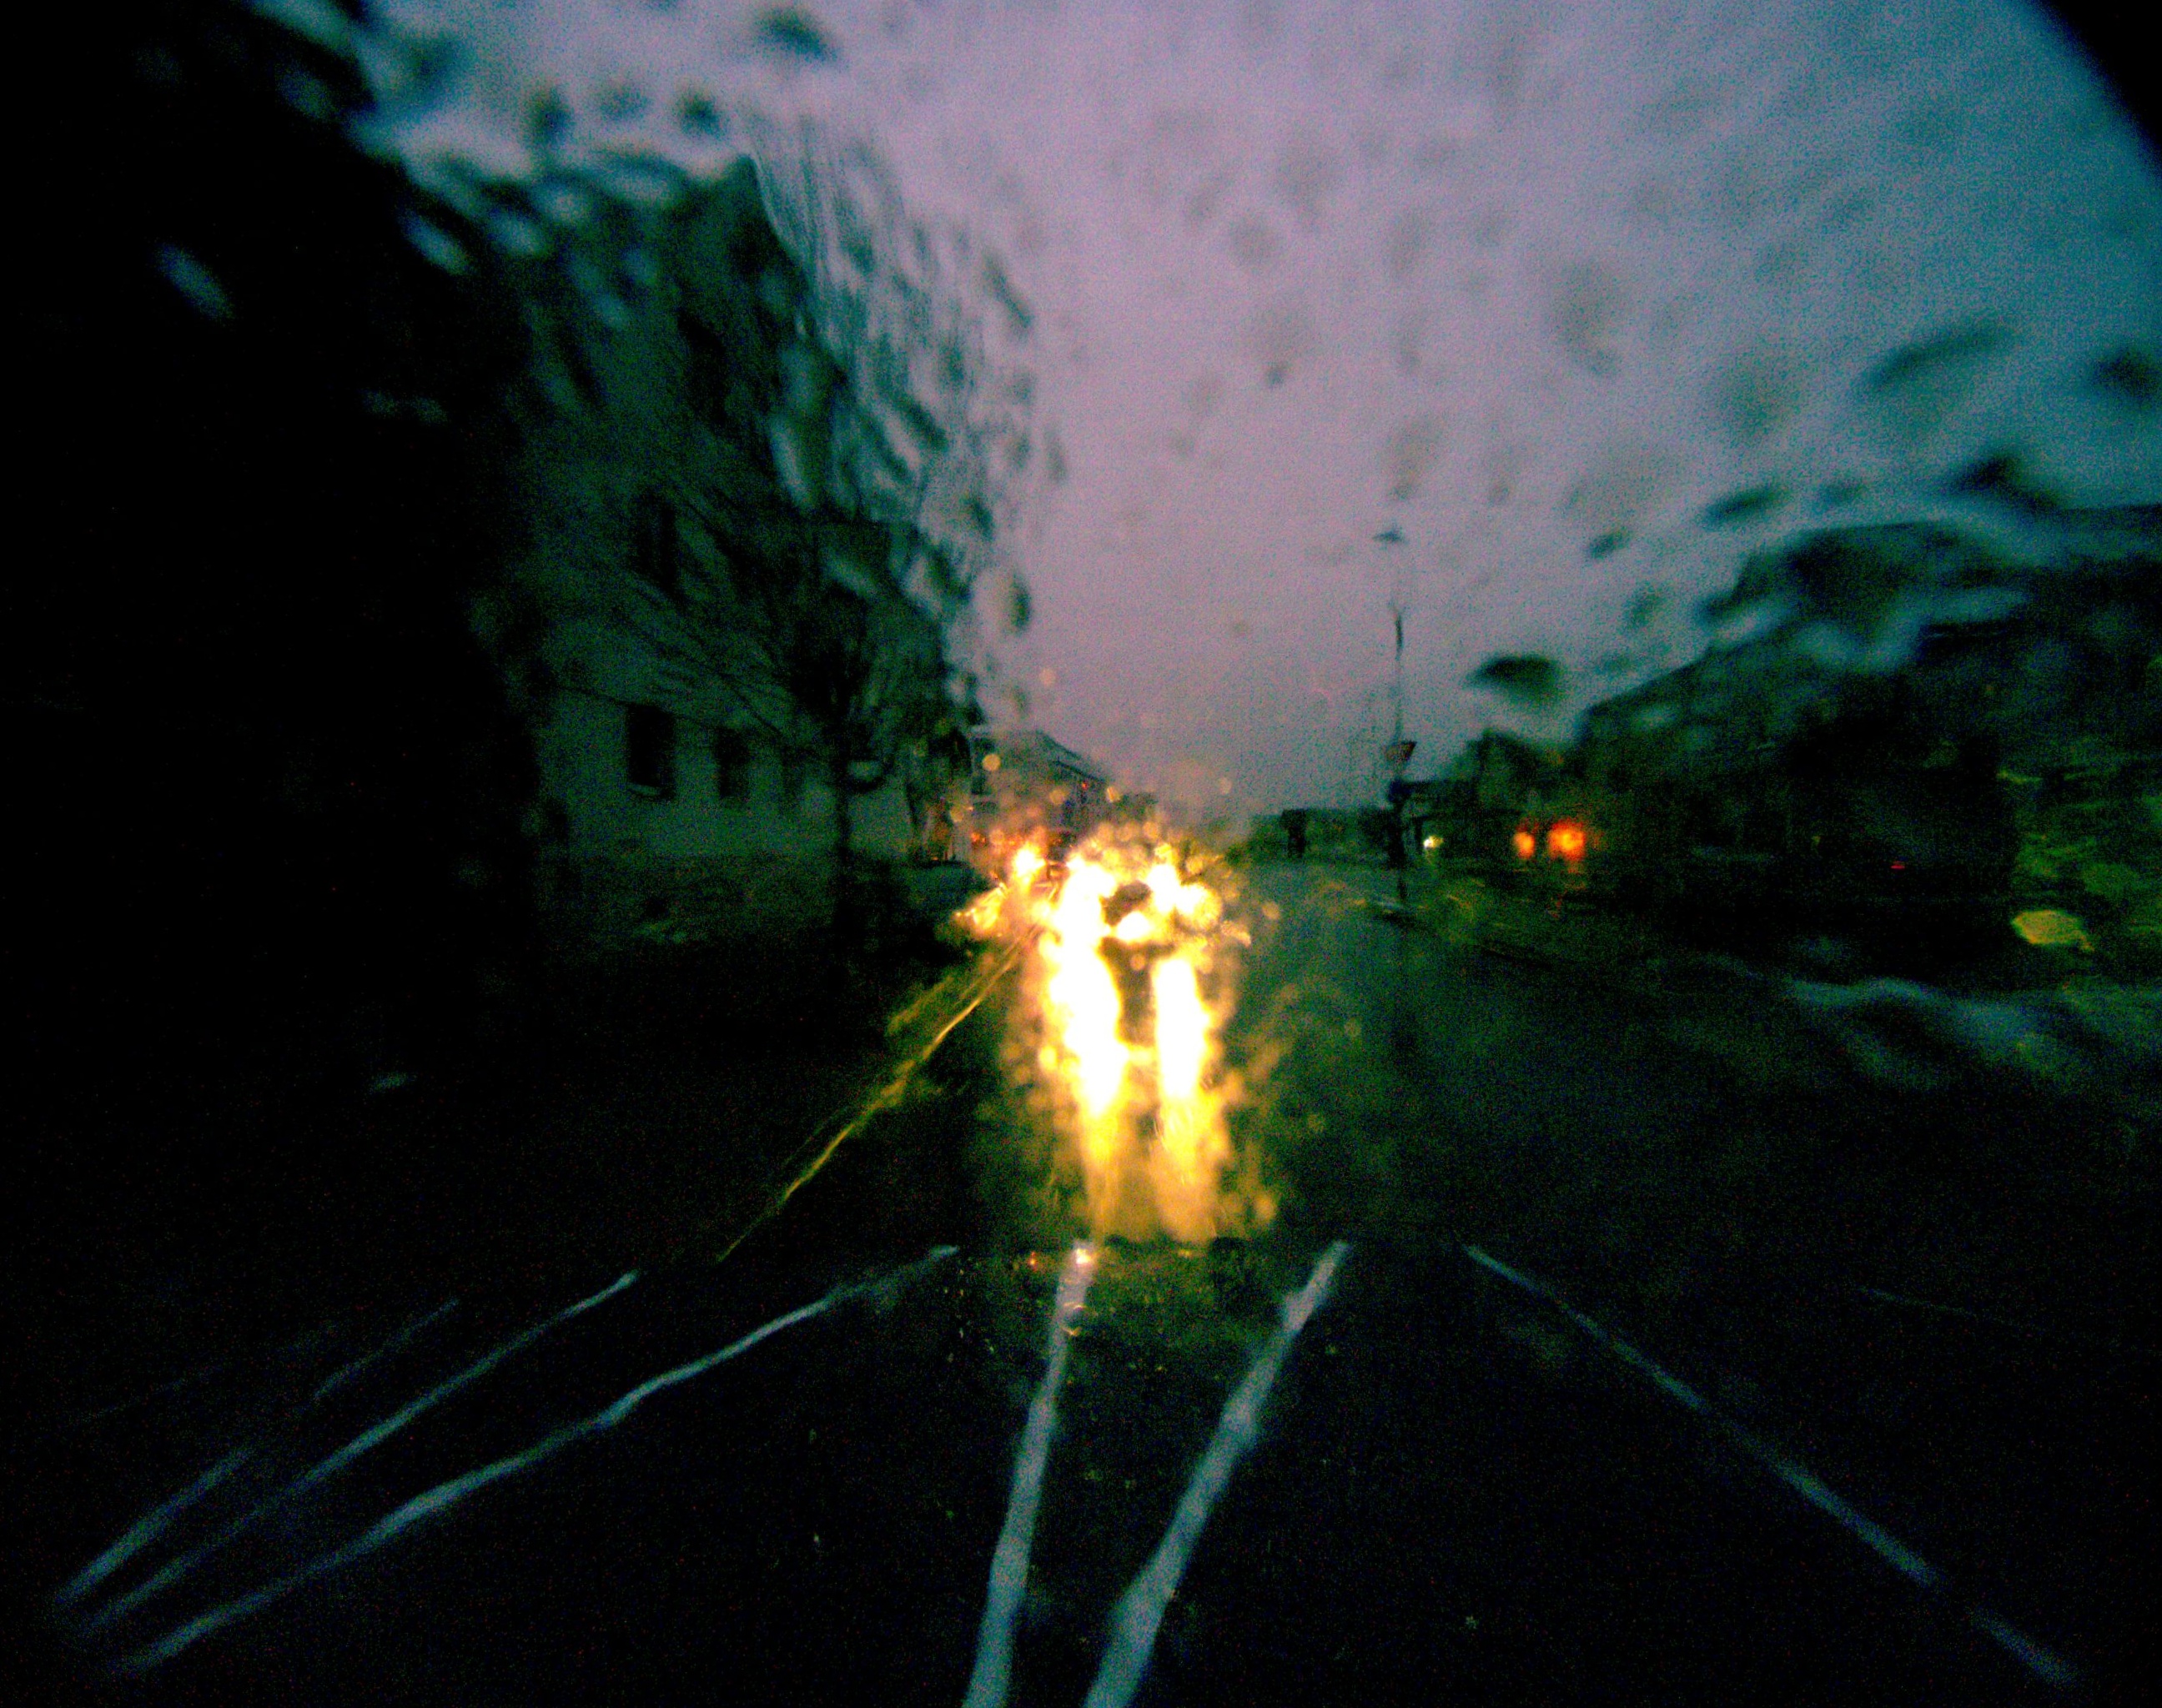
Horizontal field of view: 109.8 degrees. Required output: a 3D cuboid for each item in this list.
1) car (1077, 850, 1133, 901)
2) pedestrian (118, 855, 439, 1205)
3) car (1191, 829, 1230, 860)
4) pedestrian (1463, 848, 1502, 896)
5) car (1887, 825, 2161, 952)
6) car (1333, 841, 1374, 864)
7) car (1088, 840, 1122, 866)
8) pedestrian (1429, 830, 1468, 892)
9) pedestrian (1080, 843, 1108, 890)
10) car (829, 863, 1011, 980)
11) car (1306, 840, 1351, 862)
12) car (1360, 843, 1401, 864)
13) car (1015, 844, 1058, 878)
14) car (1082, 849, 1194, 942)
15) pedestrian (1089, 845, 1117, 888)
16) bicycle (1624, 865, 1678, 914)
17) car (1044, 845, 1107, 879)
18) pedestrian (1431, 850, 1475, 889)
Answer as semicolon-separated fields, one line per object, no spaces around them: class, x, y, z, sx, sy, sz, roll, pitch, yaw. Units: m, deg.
car;0.792;0.704;26.796;1.763;1.471;4.018;-2;2;1
pedestrian;-4.281;0.861;4.145;0.530;1.644;0.954;-2;3;12
car;9.537;-0.718;55.759;2.055;1.976;4.541;-1;3;19
pedestrian;11.003;0.475;20.834;0.687;1.264;0.750;-2;0;7
car;15.501;0.477;11.676;1.758;1.691;4.567;1;0;8
car;26.555;-0.217;74.128;1.926;2.003;3.966;-3;3;-11
car;1.618;-0.098;50.913;2.171;1.469;3.998;-2;3;2
pedestrian;10.461;0.196;21.659;0.749;1.732;0.688;-2;1;2
pedestrian;0.536;0.498;31.348;0.711;1.856;0.789;-5;4;-44
car;-2.361;0.926;12.294;1.732;1.456;4.200;2;0;4
car;23.918;-0.305;73.627;1.974;1.984;3.991;-4;3;-24
car;29.238;-0.067;74.350;1.936;1.871;3.866;-3;3;-11
car;-2.667;0.351;44.540;1.827;1.736;3.994;-3;3;-12
car;1.034;0.727;15.661;1.958;1.576;4.109;-2;1;0
pedestrian;0.916;0.510;32.120;0.769;1.752;0.789;-5;4;-44
bicycle;12.911;0.768;17.254;0.470;1.004;1.741;0;1;19
car;-0.347;0.372;39.459;2.030;1.471;4.550;-3;3;-16
pedestrian;11.218;0.467;22.953;0.990;1.151;0.903;-2;-1;12
